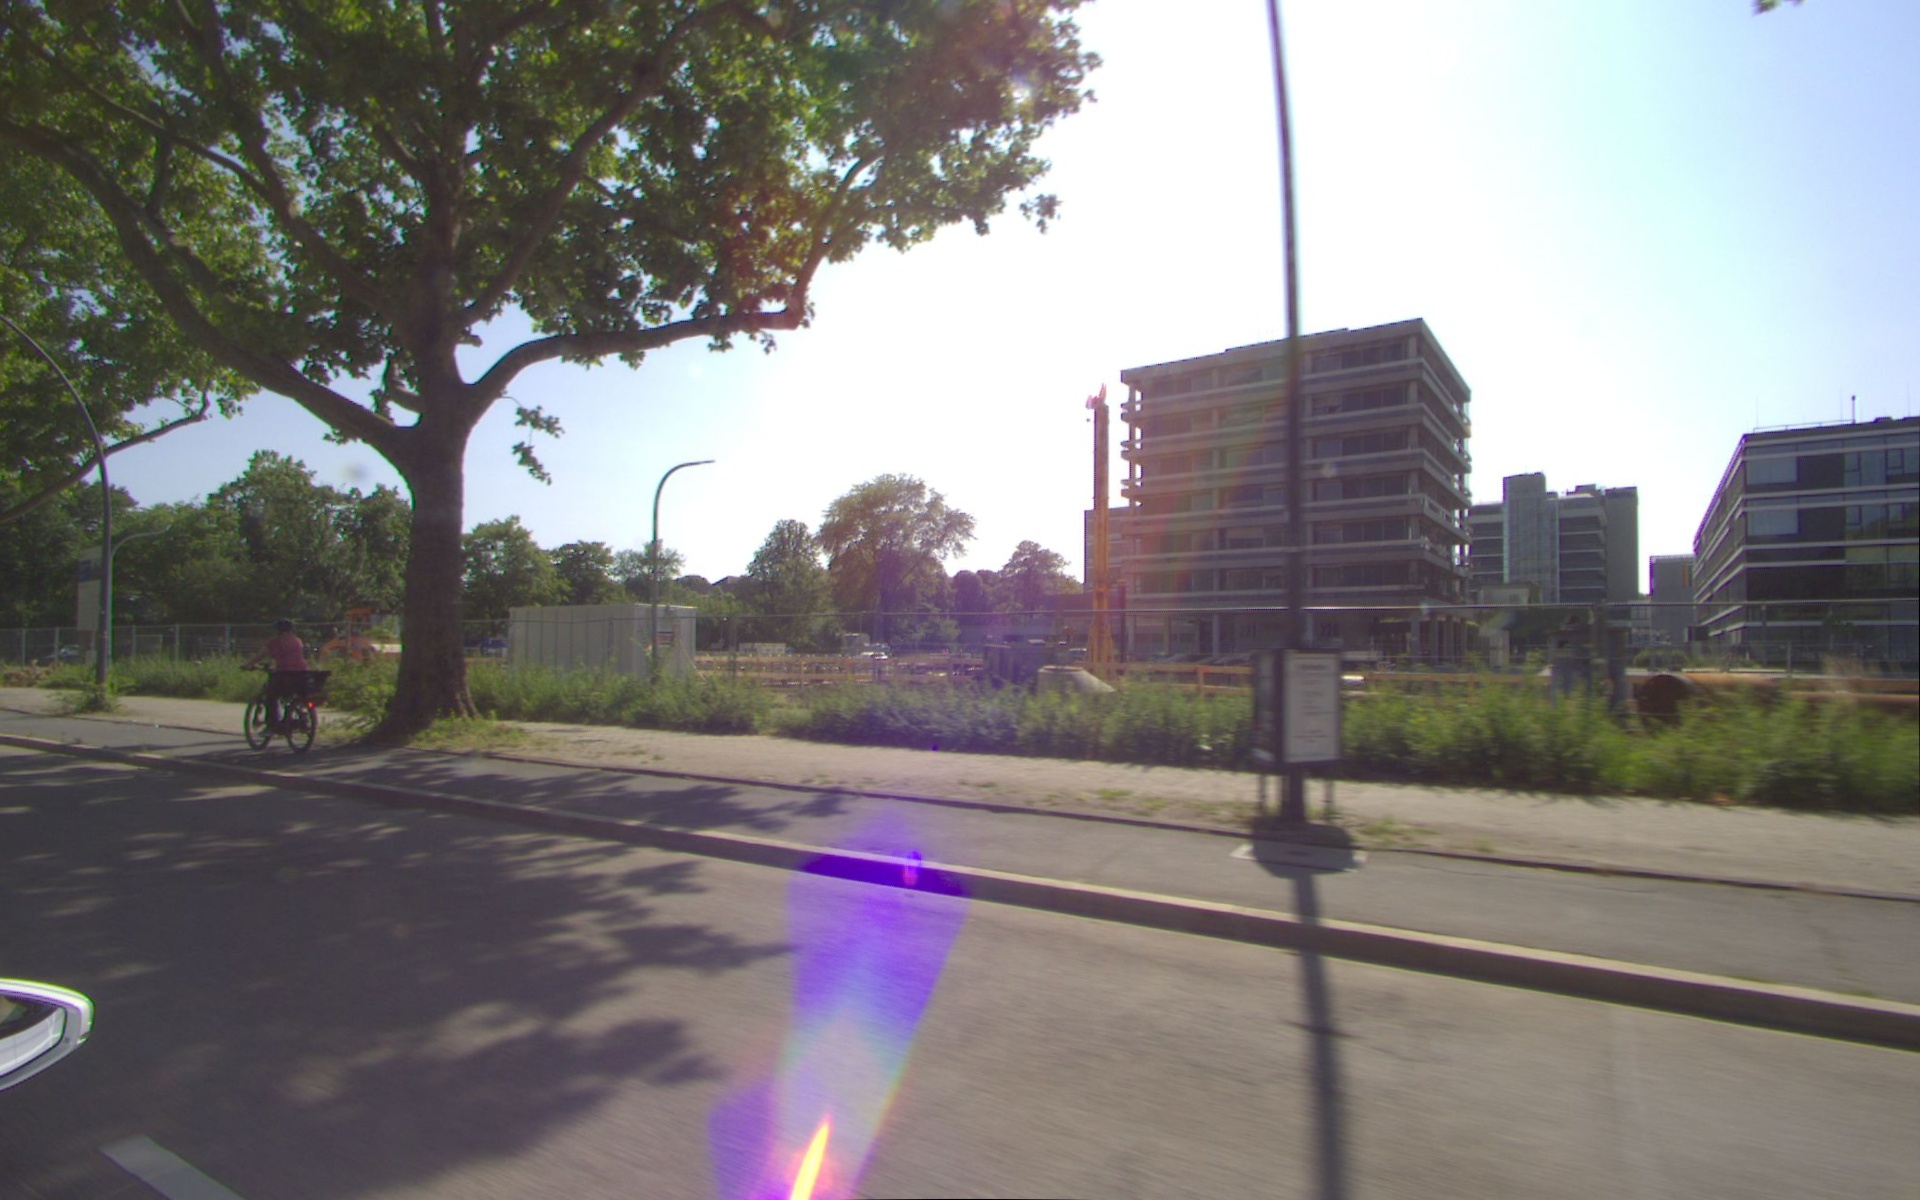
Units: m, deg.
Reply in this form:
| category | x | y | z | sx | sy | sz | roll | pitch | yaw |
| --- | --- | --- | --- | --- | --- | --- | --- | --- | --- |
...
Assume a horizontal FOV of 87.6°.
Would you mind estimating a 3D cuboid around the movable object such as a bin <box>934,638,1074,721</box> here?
| category | x | y | z | sx | sy | sz | roll | pitch | yaw |
| --- | --- | --- | --- | --- | --- | --- | --- | --- | --- |
| movable object such as a bin | 2.716 | 5.430 | 69.702 | 6.635 | 5.239 | 11.769 | 1 | -3 | -14 |

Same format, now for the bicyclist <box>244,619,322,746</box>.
| category | x | y | z | sx | sy | sz | roll | pitch | yaw |
| --- | --- | --- | --- | --- | --- | --- | --- | --- | --- |
| bicyclist | -8.971 | 1.066 | 13.278 | 0.722 | 1.621 | 0.619 | -1 | 0 | 31 |

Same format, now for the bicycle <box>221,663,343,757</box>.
| category | x | y | z | sx | sy | sz | roll | pitch | yaw |
| --- | --- | --- | --- | --- | --- | --- | --- | --- | --- |
| bicycle | -9.050 | 1.423 | 13.337 | 1.918 | 1.144 | 0.650 | -1 | -1 | 33 |

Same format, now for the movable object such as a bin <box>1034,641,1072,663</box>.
| category | x | y | z | sx | sy | sz | roll | pitch | yaw |
| --- | --- | --- | --- | --- | --- | --- | --- | --- | --- |
| movable object such as a bin | 8.851 | 4.961 | 95.325 | 2.630 | 2.039 | 2.747 | -1 | -3 | 32 |

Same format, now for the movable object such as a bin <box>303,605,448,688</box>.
| category | x | y | z | sx | sy | sz | roll | pitch | yaw |
| --- | --- | --- | --- | --- | --- | --- | --- | --- | --- |
| movable object such as a bin | -23.494 | 1.860 | 40.203 | 5.897 | 3.109 | 2.368 | -1 | -3 | 30 |

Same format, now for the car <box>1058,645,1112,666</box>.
| category | x | y | z | sx | sy | sz | roll | pitch | yaw |
| --- | --- | --- | --- | --- | --- | --- | --- | --- | --- |
| car | 10.831 | 4.812 | 87.148 | 4.376 | 1.794 | 1.787 | -2 | -3 | 35 |
